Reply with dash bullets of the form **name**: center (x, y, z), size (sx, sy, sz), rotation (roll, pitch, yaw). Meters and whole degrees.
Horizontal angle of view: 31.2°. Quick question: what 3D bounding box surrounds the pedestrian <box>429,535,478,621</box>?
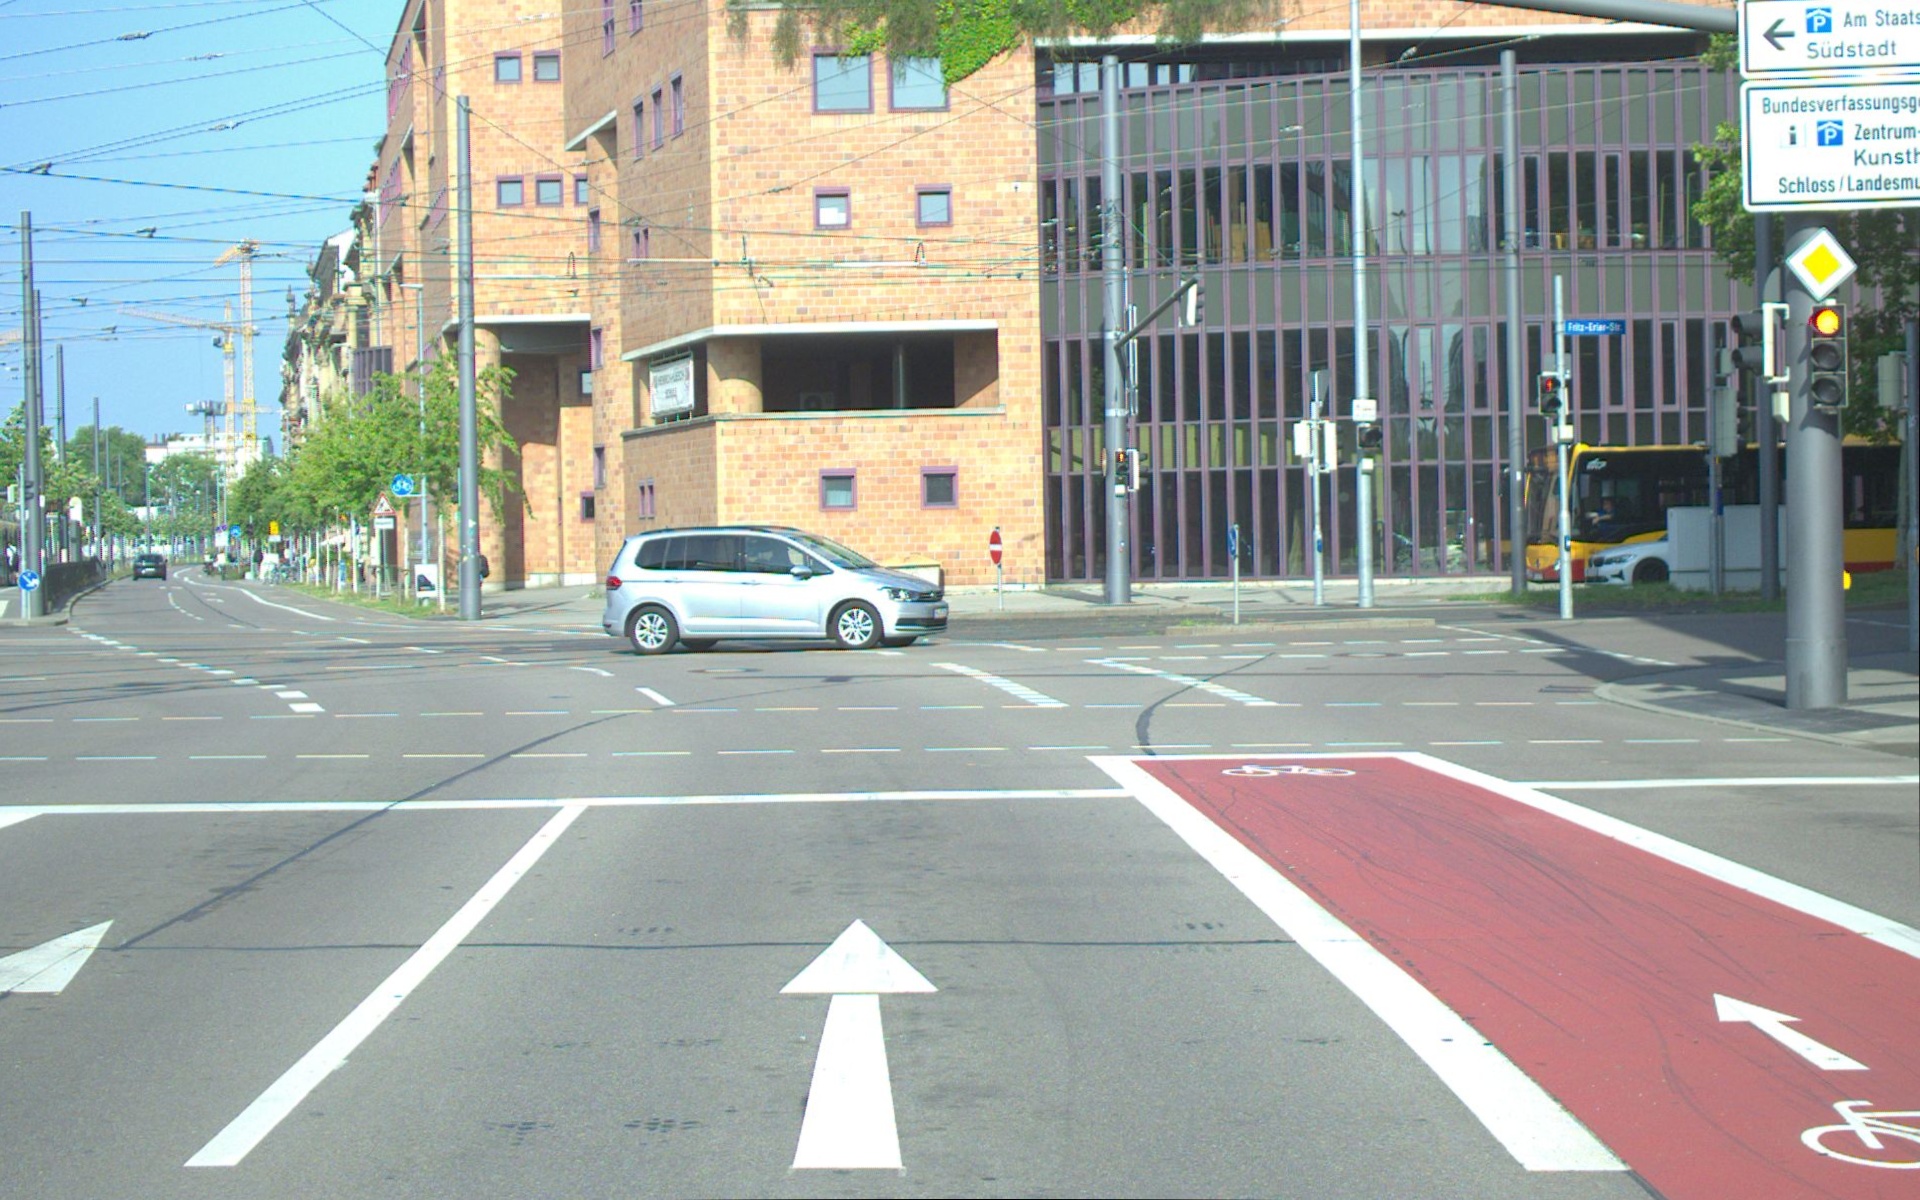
- **pedestrian**: center (-11.928, -0.529, 80.988), size (0.841, 2.007, 0.810), rotation (-1, 1, 13)

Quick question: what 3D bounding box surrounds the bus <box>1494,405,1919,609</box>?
- **bus**: center (19.561, -1.910, 68.431), size (17.605, 3.797, 2.866), rotation (-1, 0, -11)

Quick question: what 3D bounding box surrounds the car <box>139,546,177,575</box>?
- **car**: center (-46.314, -2.256, 198.534), size (2.073, 1.537, 4.415), rotation (-1, 0, -14)

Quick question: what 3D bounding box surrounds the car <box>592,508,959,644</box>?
- **car**: center (-2.374, -0.314, 44.380), size (4.381, 1.629, 1.689), rotation (-1, 3, 16)

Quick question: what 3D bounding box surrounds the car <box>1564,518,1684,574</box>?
- **car**: center (12.138, -0.979, 62.874), size (1.951, 0.955, 1.094), rotation (1, -1, -3)
